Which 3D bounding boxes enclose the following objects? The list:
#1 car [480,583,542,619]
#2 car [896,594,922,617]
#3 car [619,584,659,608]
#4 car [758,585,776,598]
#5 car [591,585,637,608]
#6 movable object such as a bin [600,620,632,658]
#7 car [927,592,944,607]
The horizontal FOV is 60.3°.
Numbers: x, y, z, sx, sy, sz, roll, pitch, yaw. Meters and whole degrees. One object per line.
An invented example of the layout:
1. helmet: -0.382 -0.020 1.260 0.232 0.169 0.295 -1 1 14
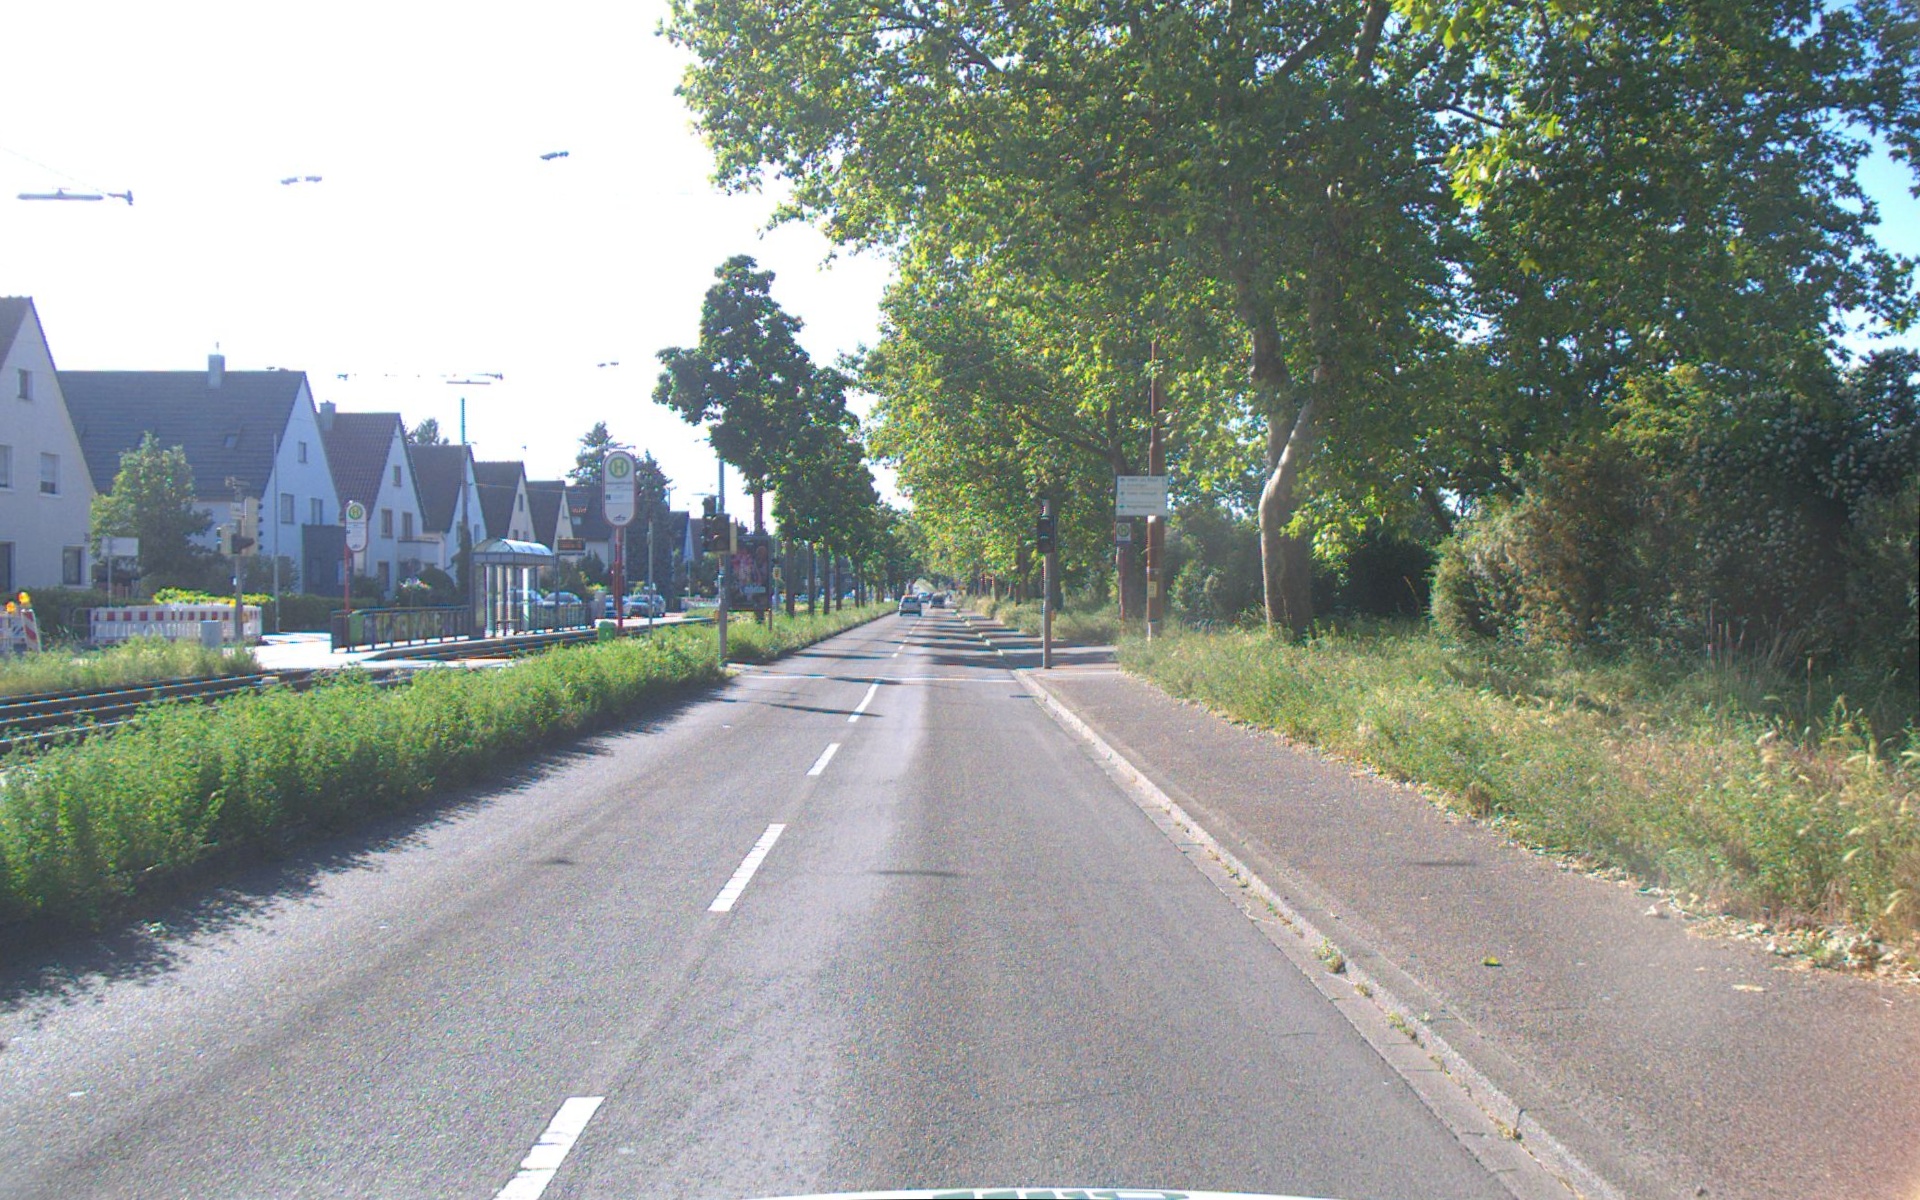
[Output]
1. car: -22.488 0.043 82.935 1.953 1.743 4.390 1 0 -1
2. car: -3.725 0.406 120.728 1.822 1.629 4.227 1 0 -1
3. car: -22.358 -0.276 115.297 1.953 1.475 4.127 3 0 -1
4. car: -23.767 -1.018 203.959 1.822 1.569 4.227 1 0 -1
5. car: -22.235 -0.220 106.498 1.952 1.451 4.410 1 0 1
6. movable object such as a bin: -5.484 0.621 26.395 0.378 0.593 0.379 1 0 8
7. car: -2.832 -0.056 191.626 1.953 1.631 4.472 1 0 -1
